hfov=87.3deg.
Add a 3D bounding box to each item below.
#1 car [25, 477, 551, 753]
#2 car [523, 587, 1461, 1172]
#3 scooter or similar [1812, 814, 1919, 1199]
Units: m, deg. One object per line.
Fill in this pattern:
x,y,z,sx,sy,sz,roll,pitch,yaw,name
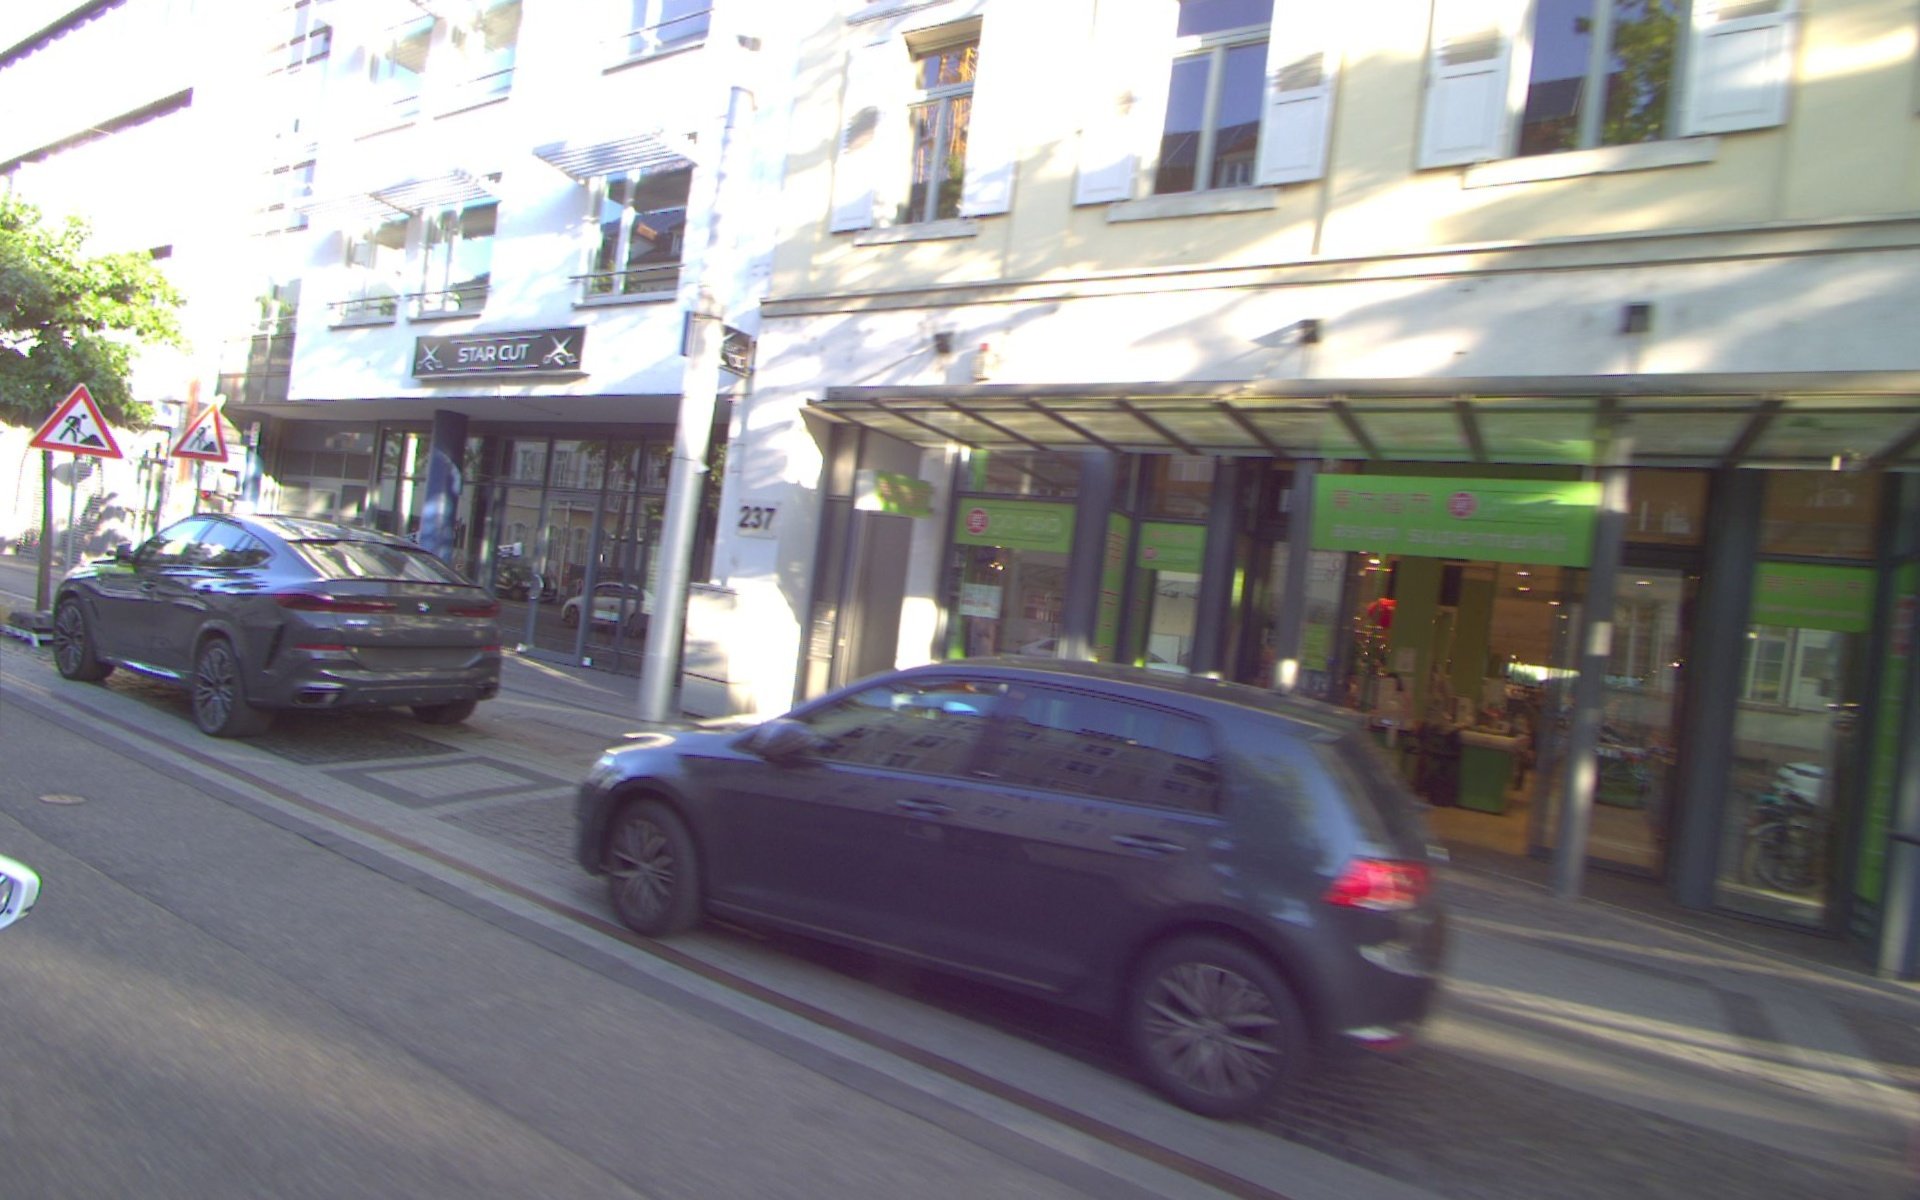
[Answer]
-6.155,0.043,9.056,4.785,1.733,1.997,7,-1,32,car
0.113,0.938,4.854,3.929,1.454,1.842,7,0,25,car
3.297,1.415,3.276,0.665,1.211,1.537,7,-1,40,scooter or similar
